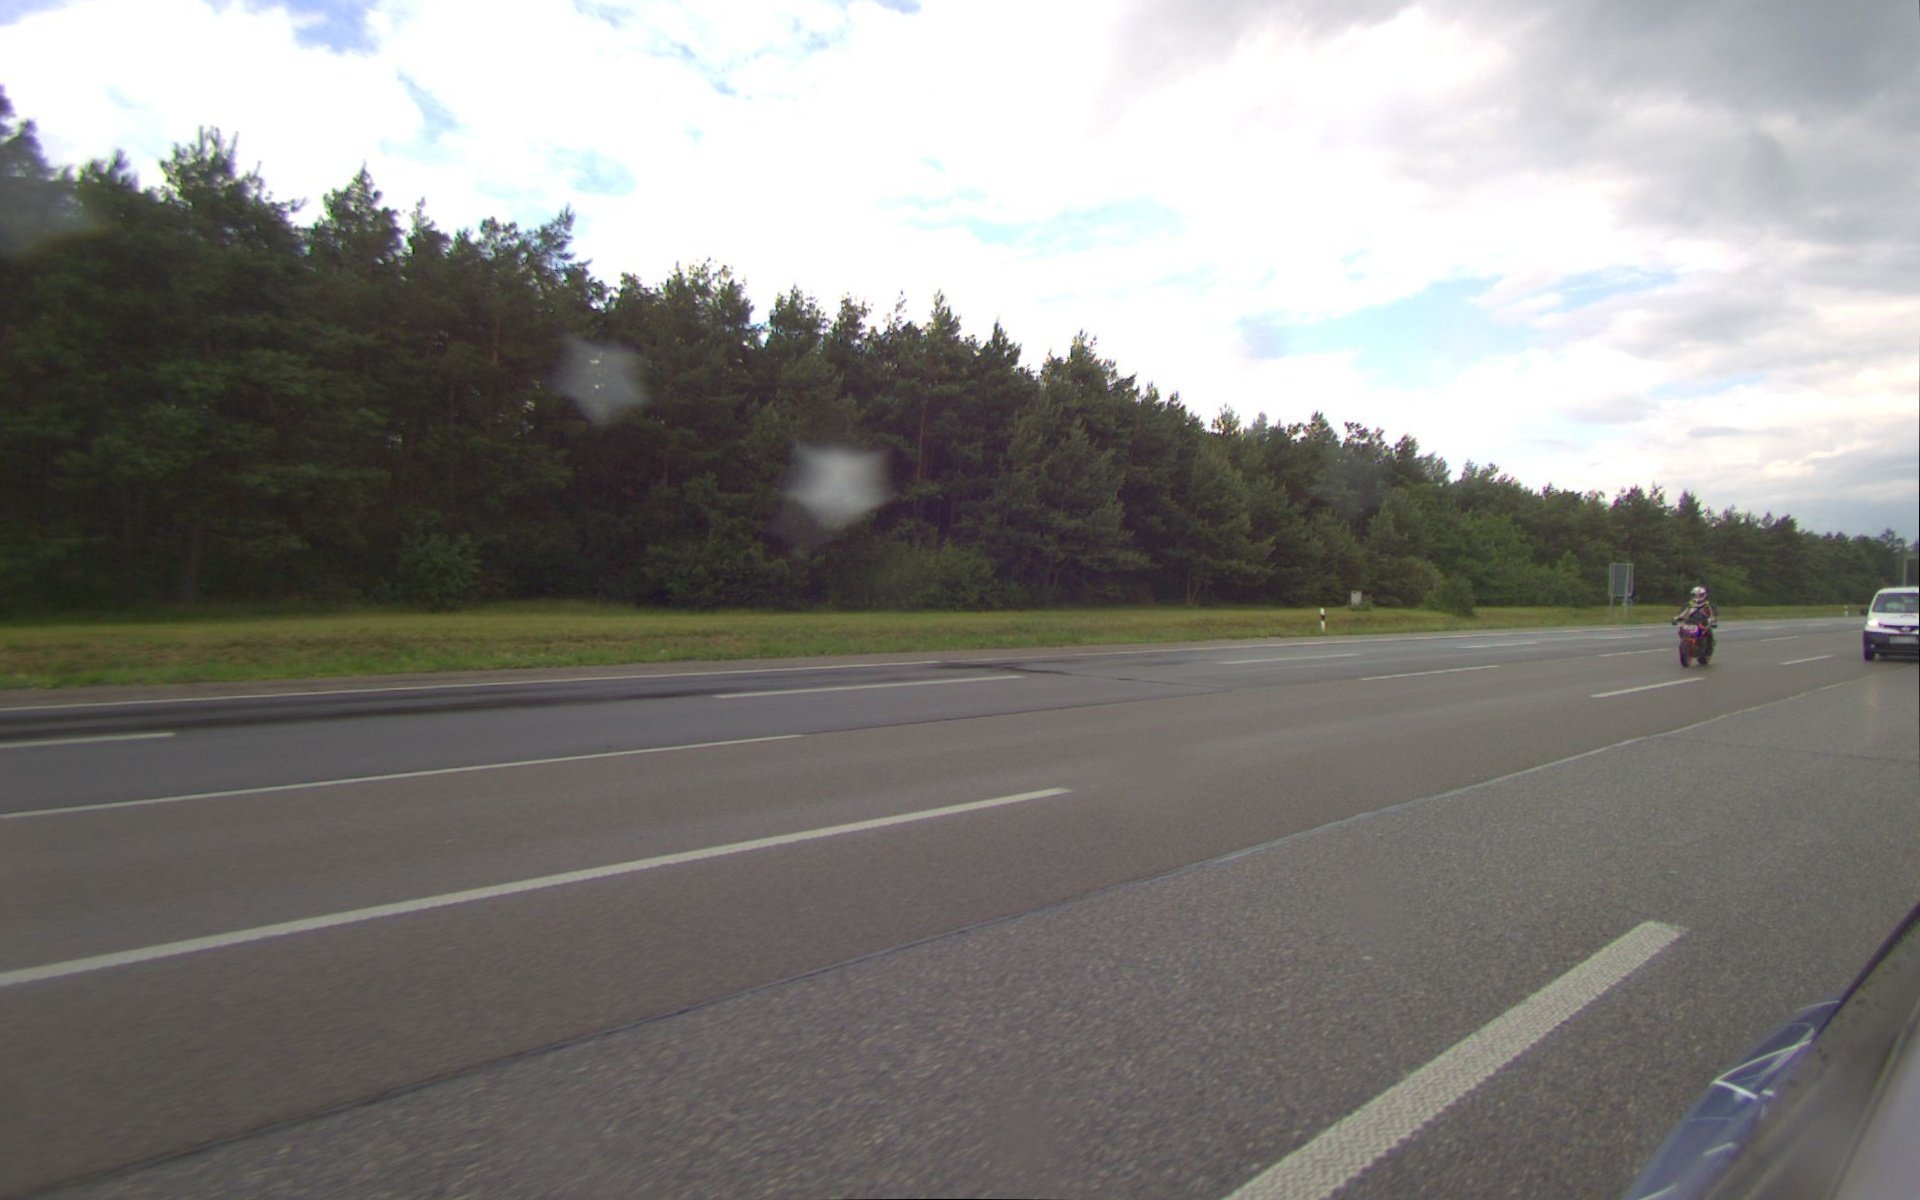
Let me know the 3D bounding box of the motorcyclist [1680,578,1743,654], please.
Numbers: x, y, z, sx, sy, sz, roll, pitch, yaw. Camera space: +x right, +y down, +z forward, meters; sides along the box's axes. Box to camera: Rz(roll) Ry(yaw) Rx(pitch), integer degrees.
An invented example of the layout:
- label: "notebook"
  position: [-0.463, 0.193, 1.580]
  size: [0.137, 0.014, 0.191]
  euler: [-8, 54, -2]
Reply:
- label: "motorcyclist"
  position: [16.624, 0.337, 22.386]
  size: [0.941, 1.635, 0.893]
  euler: [0, 0, -38]

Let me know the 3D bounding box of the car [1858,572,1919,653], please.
- label: "car"
  position: [24.638, 0.300, 25.636]
  size: [4.792, 1.925, 1.969]
  euler: [0, 1, -38]

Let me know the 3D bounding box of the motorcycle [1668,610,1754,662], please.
- label: "motorcycle"
  position: [16.620, 0.774, 22.377]
  size: [2.134, 1.044, 1.002]
  euler: [0, 1, -38]

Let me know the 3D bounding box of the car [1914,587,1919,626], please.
- label: "car"
  position: [52.639, 0.371, 53.685]
  size: [5.379, 2.039, 2.000]
  euler: [1, 0, -36]
